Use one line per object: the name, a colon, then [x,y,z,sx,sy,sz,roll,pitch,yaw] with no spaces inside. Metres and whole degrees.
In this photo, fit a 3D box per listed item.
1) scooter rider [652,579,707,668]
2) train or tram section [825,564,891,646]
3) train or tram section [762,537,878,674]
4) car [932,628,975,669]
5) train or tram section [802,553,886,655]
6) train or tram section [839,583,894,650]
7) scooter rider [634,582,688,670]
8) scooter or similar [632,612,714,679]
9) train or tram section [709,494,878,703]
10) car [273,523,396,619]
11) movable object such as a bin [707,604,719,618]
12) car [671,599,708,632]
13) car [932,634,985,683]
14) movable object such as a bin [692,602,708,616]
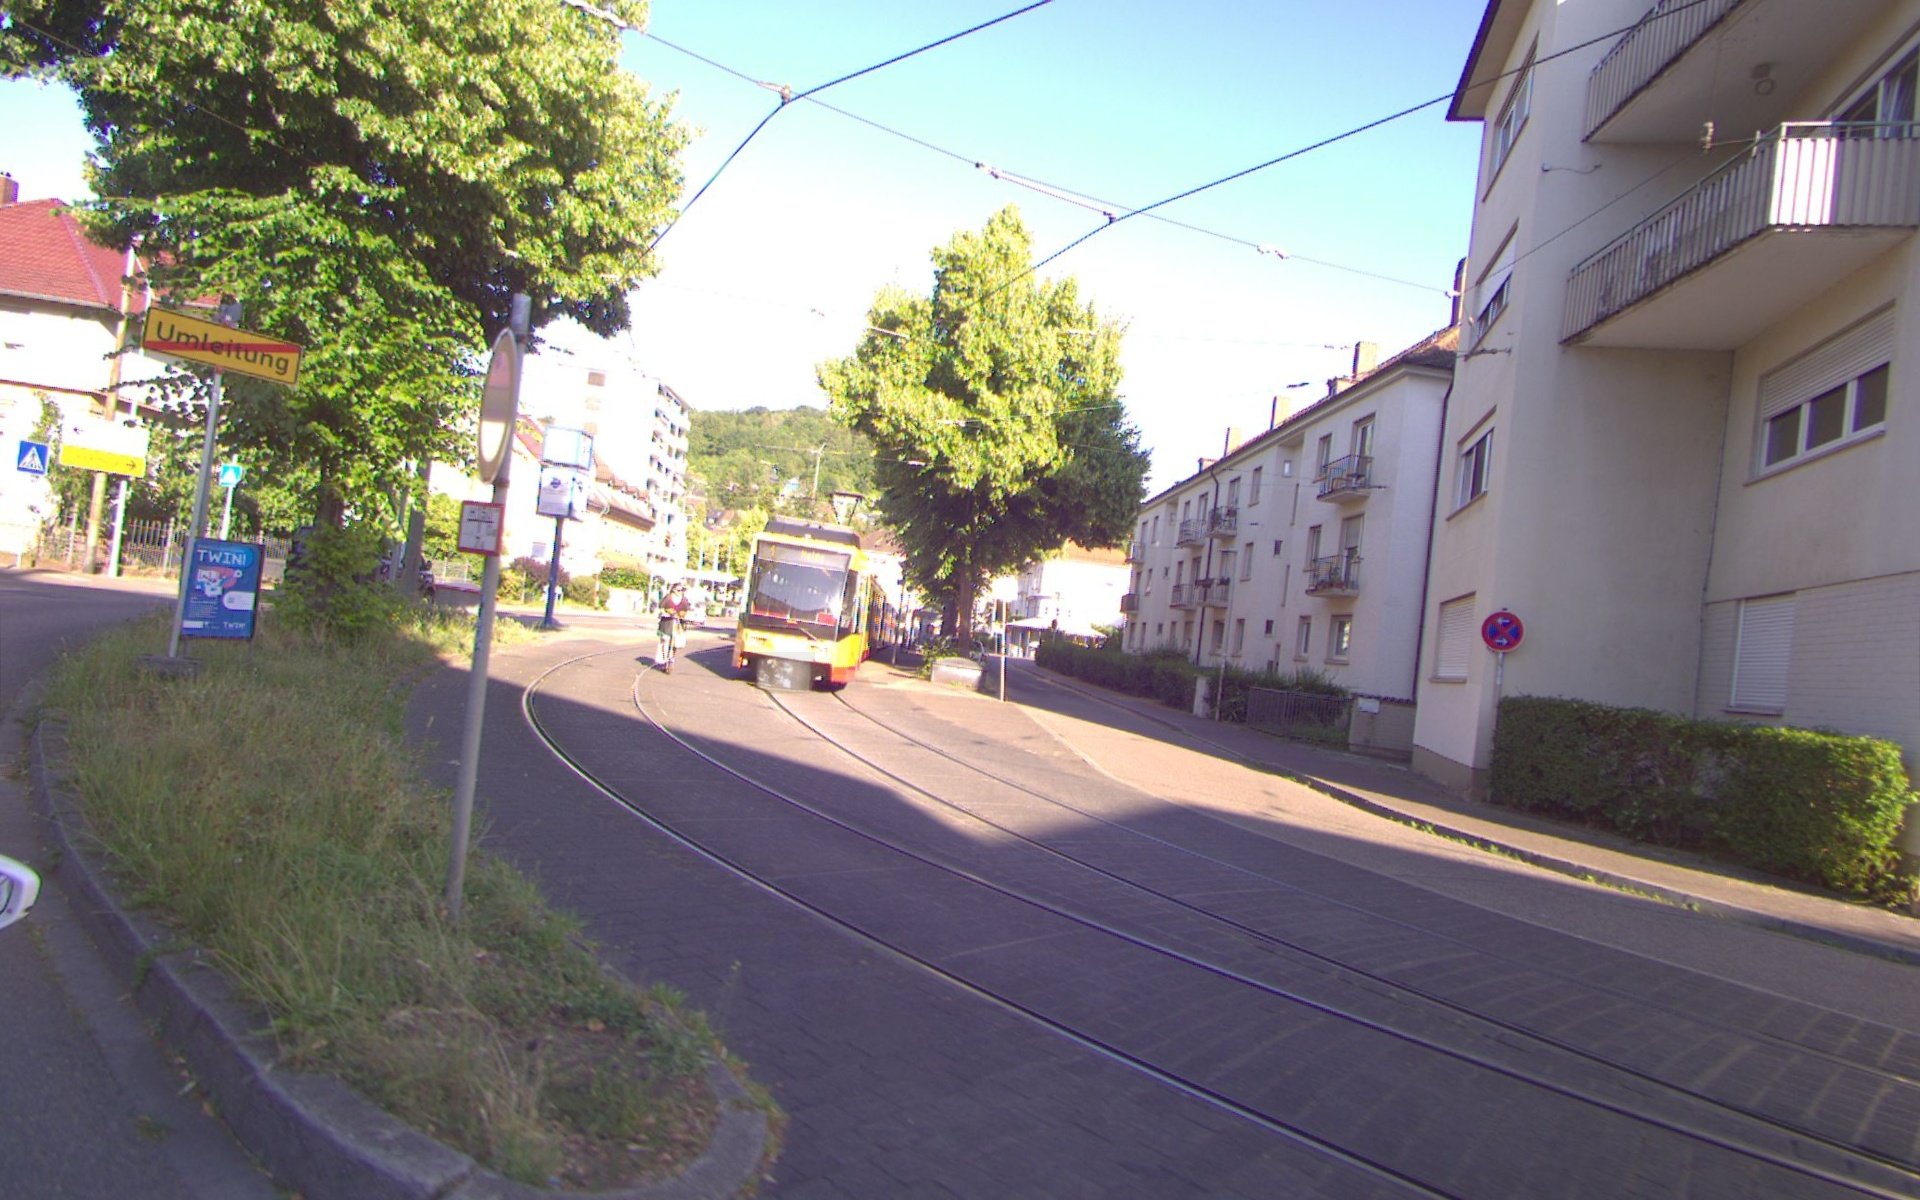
scooter rider: [-5.614,0.474,20.154,0.597,1.693,0.654,7,0,28]
train or tram section: [-5.266,0.358,53.456,2.735,3.597,9.919,7,-2,-4]
train or tram section: [-4.400,0.277,33.670,2.735,3.597,9.919,7,-2,-4]
car: [-0.348,2.178,45.350,1.700,1.547,3.797,7,-3,-1]
train or tram section: [-4.812,0.268,43.565,2.735,3.597,9.919,7,-2,-4]
train or tram section: [-5.747,1.076,63.384,2.734,3.597,9.919,7,-2,-3]
scooter rider: [-6.044,0.527,20.361,0.597,1.693,0.654,7,0,28]
scooter or similar: [-5.764,0.904,20.218,1.382,1.150,0.684,7,0,29]
train or tram section: [-3.567,0.083,23.794,2.735,3.597,9.916,7,-2,-5]
car: [-16.122,-0.734,26.138,1.976,2.036,3.978,8,-2,-25]
movable object such as a bin: [-24.920,1.109,101.675,1.022,1.318,0.958,7,-2,-14]
car: [-16.720,0.971,62.332,1.969,1.736,3.991,8,-3,-15]
car: [-0.069,2.062,36.222,1.658,1.458,4.002,7,-2,0]
movable object such as a bin: [-26.166,0.904,101.253,1.408,1.242,0.958,8,-2,-14]
